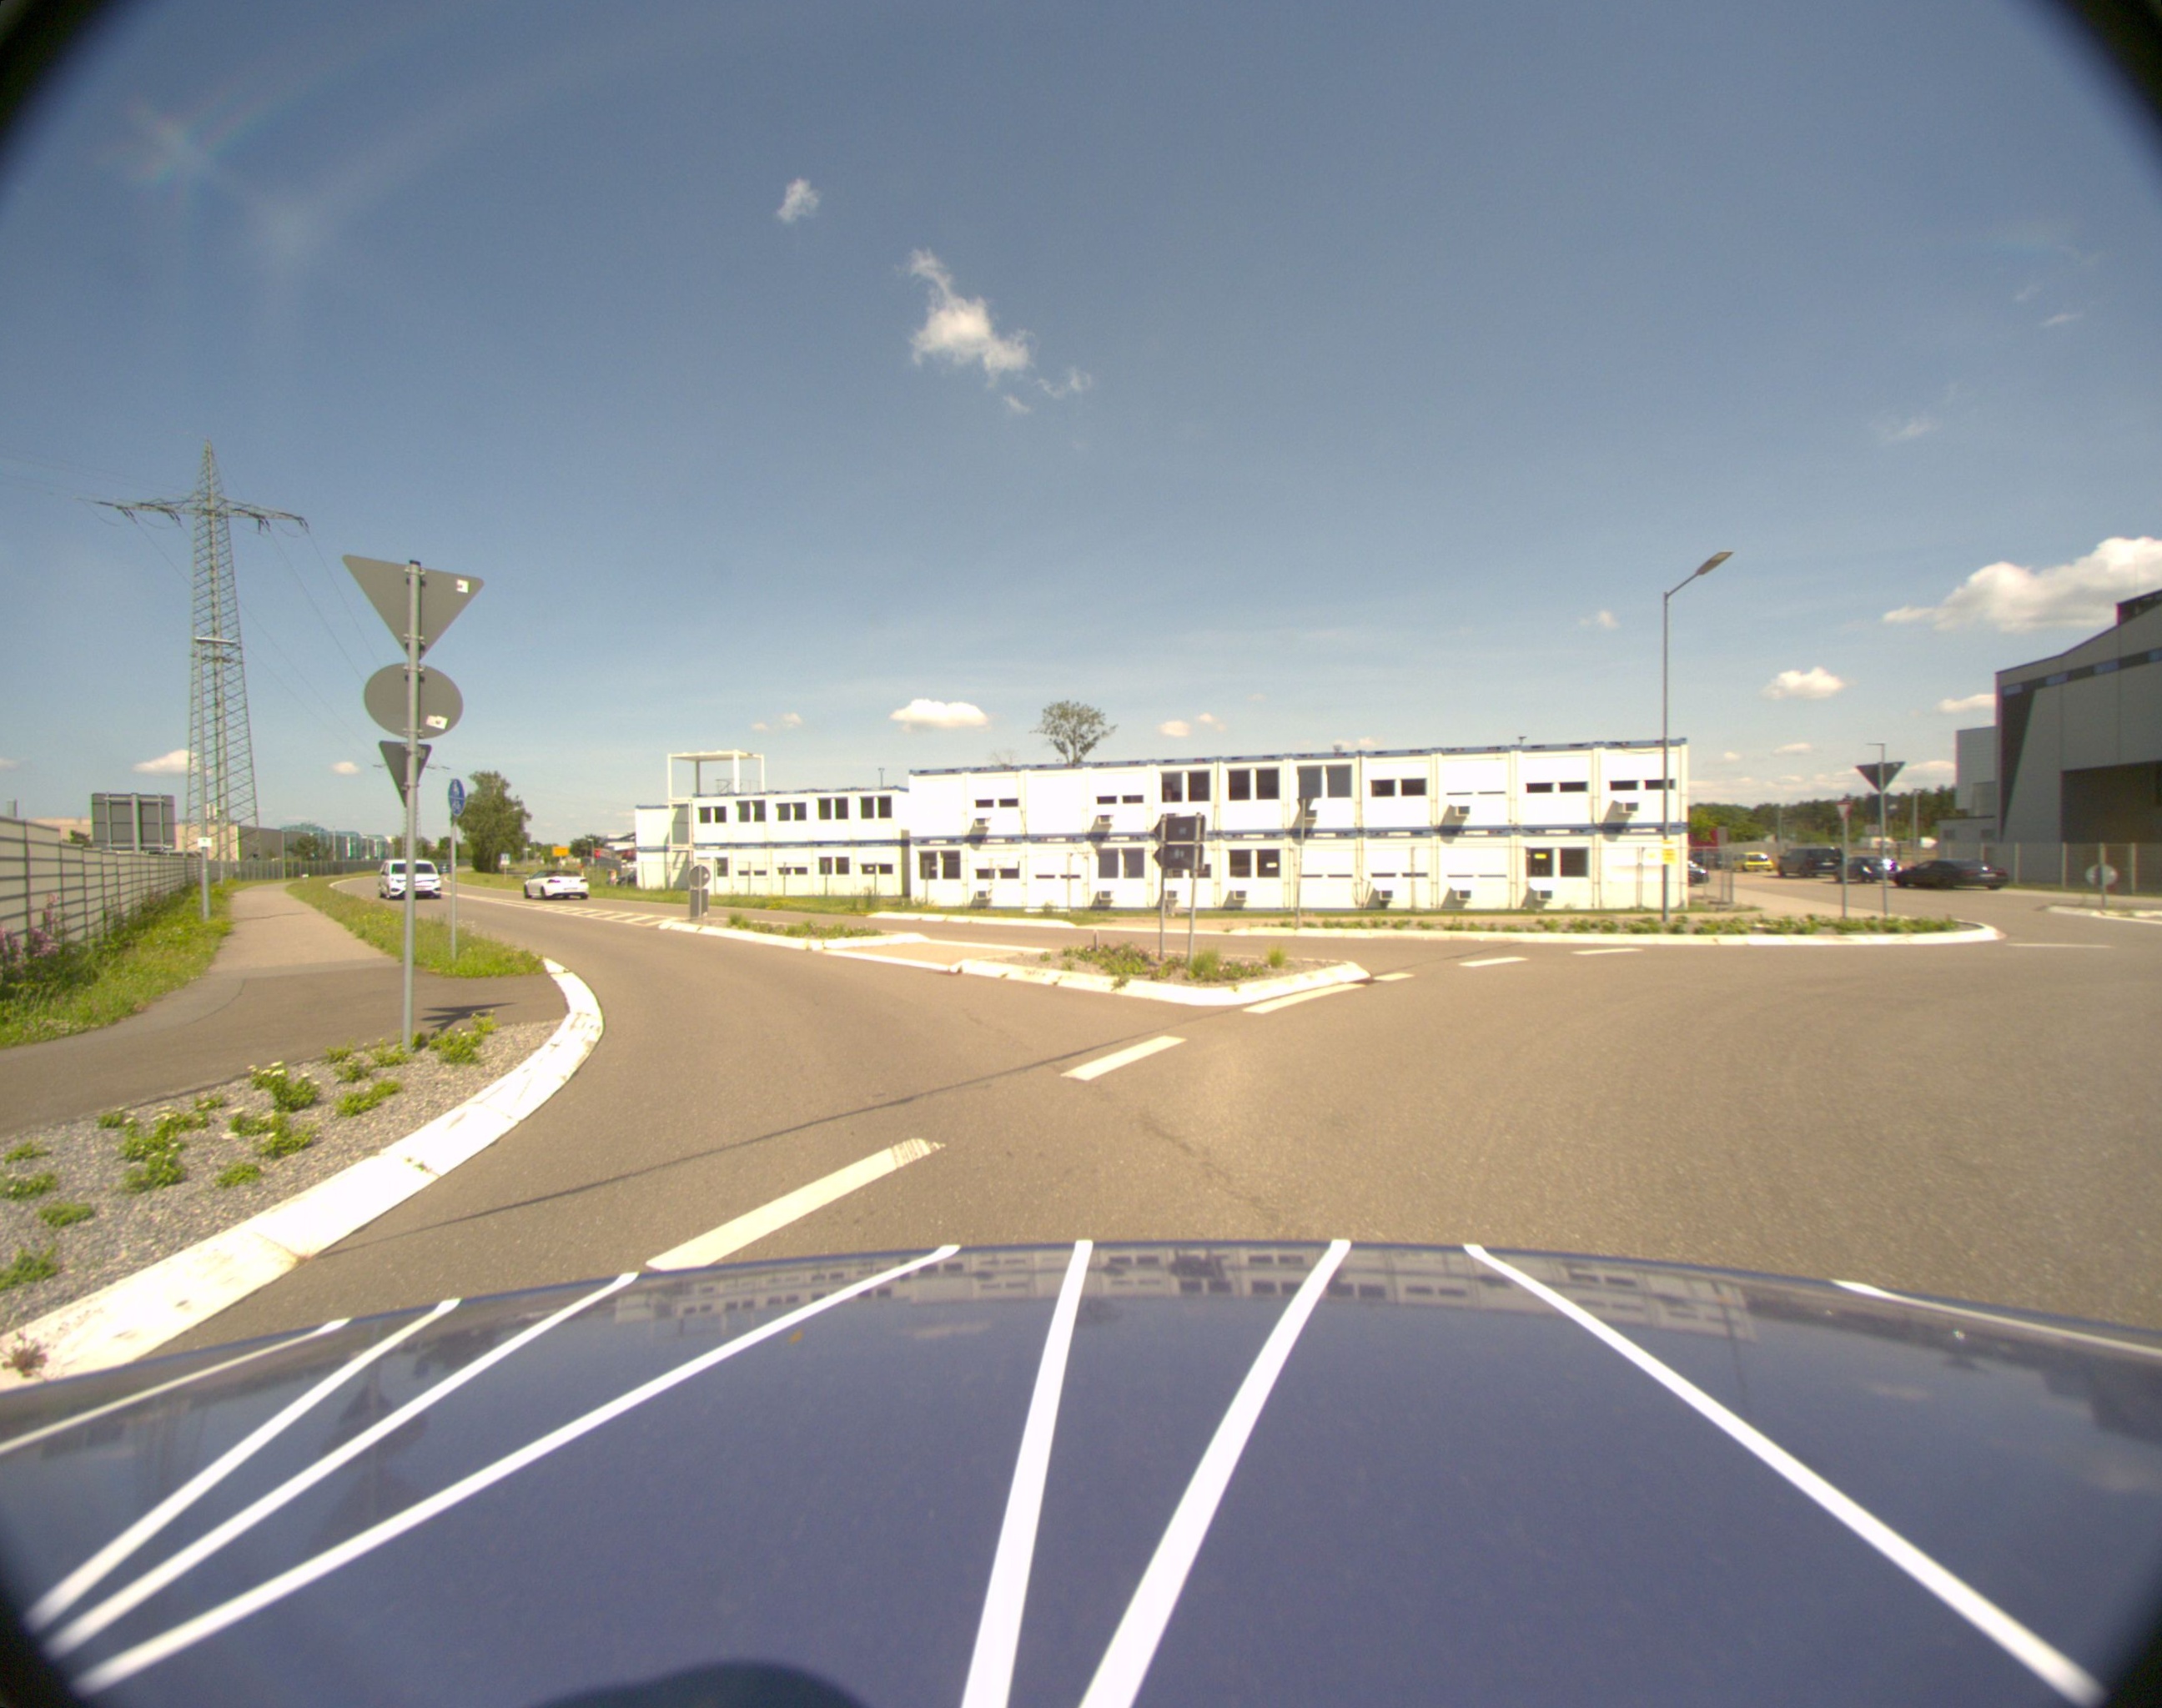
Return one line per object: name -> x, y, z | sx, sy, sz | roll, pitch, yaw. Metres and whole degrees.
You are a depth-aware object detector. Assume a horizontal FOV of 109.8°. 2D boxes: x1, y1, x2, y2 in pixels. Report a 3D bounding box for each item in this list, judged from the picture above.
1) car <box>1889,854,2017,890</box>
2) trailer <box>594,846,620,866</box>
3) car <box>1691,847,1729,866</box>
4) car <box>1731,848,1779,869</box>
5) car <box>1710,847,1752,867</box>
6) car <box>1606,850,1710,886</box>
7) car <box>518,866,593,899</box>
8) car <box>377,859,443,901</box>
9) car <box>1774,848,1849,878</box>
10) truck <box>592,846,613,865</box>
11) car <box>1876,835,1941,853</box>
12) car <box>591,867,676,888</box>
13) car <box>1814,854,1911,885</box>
car -> 41.355, 0.818, 36.208 | 1.996, 1.540, 4.318 | -1, 1, 16
trailer -> -86.551, 0.326, 138.551 | 3.307, 3.623, 14.885 | 0, 0, -35
car -> 56.115, 0.222, 67.868 | 1.994, 1.540, 4.322 | 0, 1, 32
car -> 51.595, 0.324, 58.238 | 1.994, 1.540, 4.322 | 0, 1, 32
car -> 53.693, 0.207, 62.810 | 1.994, 1.540, 4.322 | 0, 1, 32
car -> 31.326, 0.759, 41.423 | 4.302, 1.856, 2.003 | -1, 1, 29
car -> -24.246, 1.331, 34.992 | 4.041, 1.419, 1.779 | -3, -1, 40
car -> -31.109, 1.132, 35.171 | 4.815, 1.796, 1.842 | 0, 0, 43
car -> 46.909, 0.550, 48.916 | 1.995, 1.821, 4.320 | -1, 1, 22
truck -> -93.855, 0.278, 148.951 | 3.117, 3.623, 10.565 | 0, 0, -35
car -> 88.934, -1.039, 81.716 | 4.305, 1.856, 2.002 | -1, 1, 17
car -> -33.097, 1.718, 56.363 | 1.994, 1.409, 4.995 | -1, 0, 34
car -> 43.832, 0.842, 42.758 | 1.996, 1.540, 4.319 | -1, 1, 17
